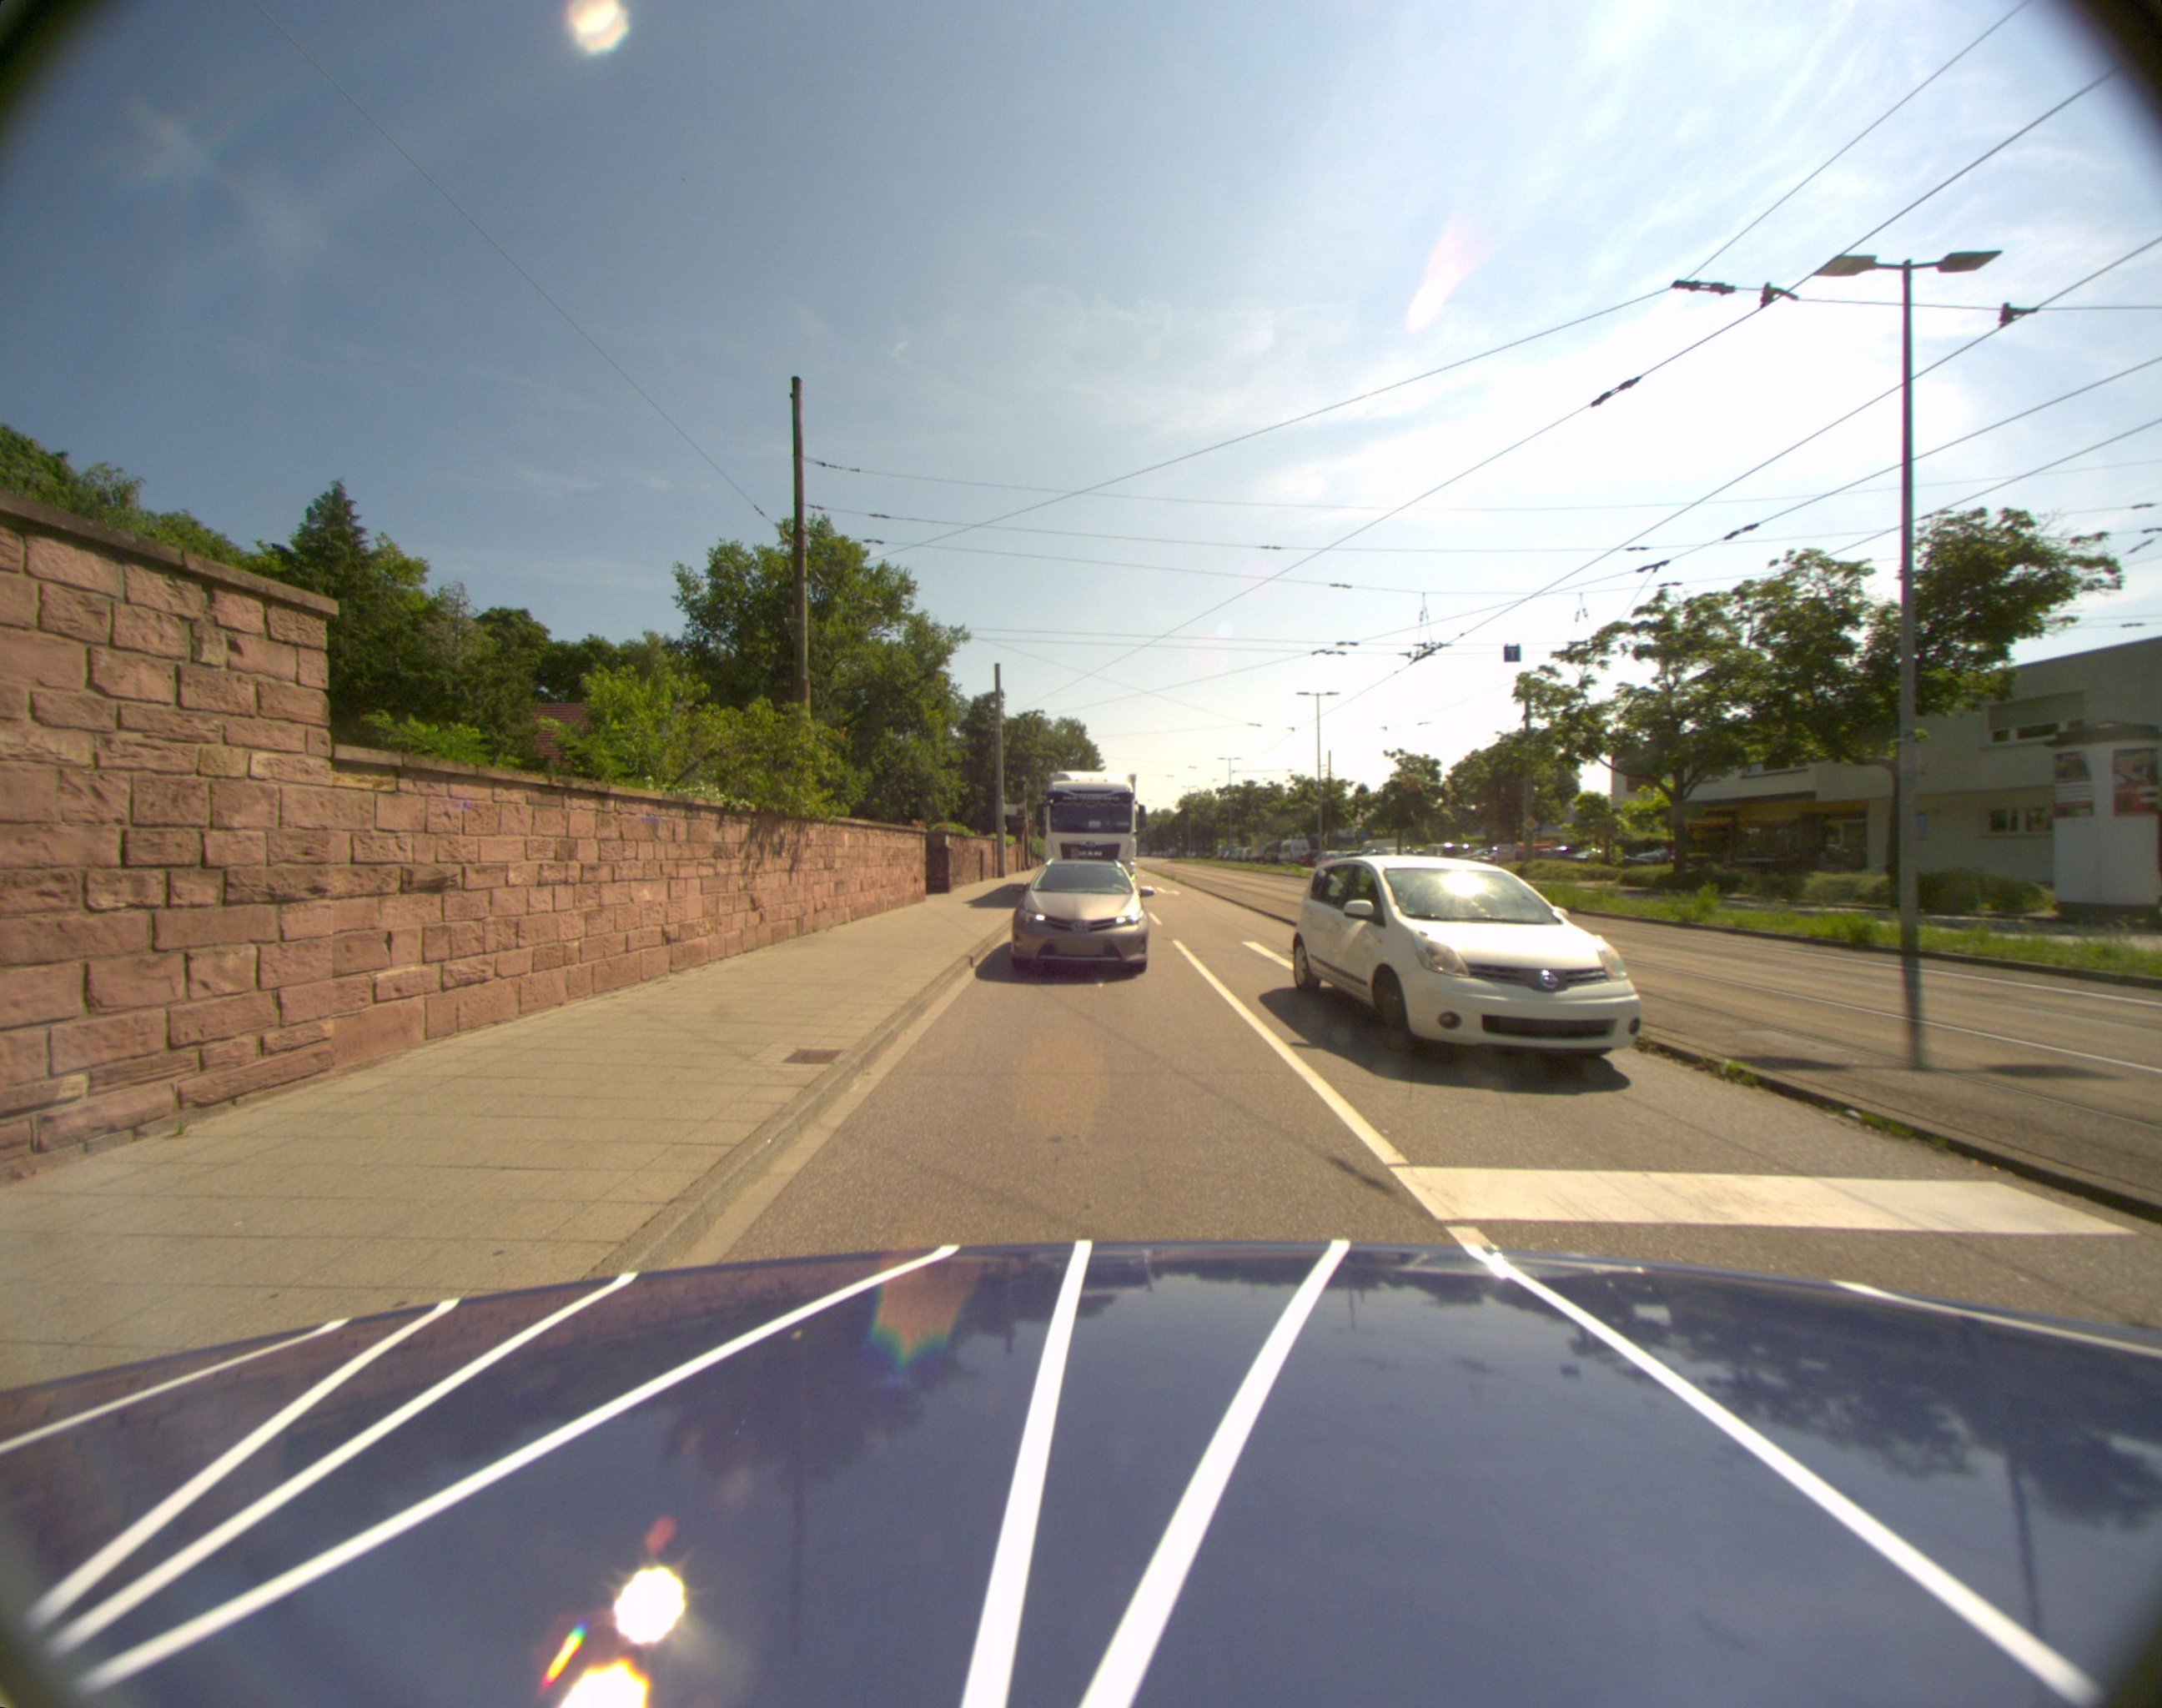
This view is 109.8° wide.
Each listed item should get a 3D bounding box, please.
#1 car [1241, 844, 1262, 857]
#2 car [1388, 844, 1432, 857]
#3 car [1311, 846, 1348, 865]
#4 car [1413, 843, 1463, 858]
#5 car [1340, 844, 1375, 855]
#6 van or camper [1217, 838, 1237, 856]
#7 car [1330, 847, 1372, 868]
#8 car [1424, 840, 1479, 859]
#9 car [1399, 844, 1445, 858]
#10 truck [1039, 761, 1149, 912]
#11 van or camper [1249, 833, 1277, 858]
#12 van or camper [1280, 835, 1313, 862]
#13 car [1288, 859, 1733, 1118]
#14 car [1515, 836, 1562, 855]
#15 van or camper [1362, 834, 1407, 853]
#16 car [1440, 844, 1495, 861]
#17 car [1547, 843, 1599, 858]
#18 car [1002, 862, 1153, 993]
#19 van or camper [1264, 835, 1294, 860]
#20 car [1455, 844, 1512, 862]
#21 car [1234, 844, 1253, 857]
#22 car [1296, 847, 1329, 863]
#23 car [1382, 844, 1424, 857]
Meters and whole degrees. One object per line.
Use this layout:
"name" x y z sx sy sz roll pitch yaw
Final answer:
"car" 22.354 -0.443 99.580 1.892 1.724 4.232 0 1 1
"car" 32.704 -0.323 75.583 3.624 1.274 1.712 0 1 0
"car" 21.377 0.105 65.567 1.892 1.551 4.285 0 1 1
"car" 31.517 -0.335 67.089 3.624 1.277 1.712 0 1 0
"car" 33.505 -0.584 92.258 3.624 1.274 1.712 0 1 0
"van or camper" 22.808 -1.115 118.956 2.114 2.604 5.452 1 1 2
"car" 21.279 0.219 60.040 1.892 1.486 4.285 -3 0 3
"car" 31.560 -0.381 64.761 3.749 1.560 1.951 0 1 0
"car" 32.588 -0.287 72.746 3.624 1.274 1.812 0 1 0
"truck" 0.448 -0.499 24.143 2.746 3.852 9.110 1 1 2
"van or camper" 21.777 -1.008 90.969 2.128 2.968 5.281 0 1 1
"van or camper" 21.531 -0.594 76.028 2.040 2.617 4.839 0 1 1
"car" 3.277 0.872 6.866 1.770 1.552 4.067 1 1 2
"car" 44.827 -0.817 74.468 3.624 1.767 1.712 0 1 0
"van or camper" 46.766 -1.616 117.181 6.081 2.715 2.299 0 1 4
"car" 31.672 -0.157 62.292 3.624 1.354 1.712 0 1 0
"car" 44.915 -0.304 69.448 3.624 1.354 1.712 0 1 0
"car" 0.016 0.885 11.132 1.742 1.424 4.462 1 1 2
"van or camper" 21.580 -0.708 83.083 2.040 2.617 4.839 0 1 1
"car" 31.523 -0.117 59.553 3.624 1.354 1.712 0 1 0
"car" 22.727 -0.522 106.511 1.892 1.757 4.232 0 1 1
"car" 21.640 0.083 71.165 1.892 1.486 4.232 0 1 1
"car" 32.985 -0.358 77.886 3.624 1.274 1.712 0 1 0
